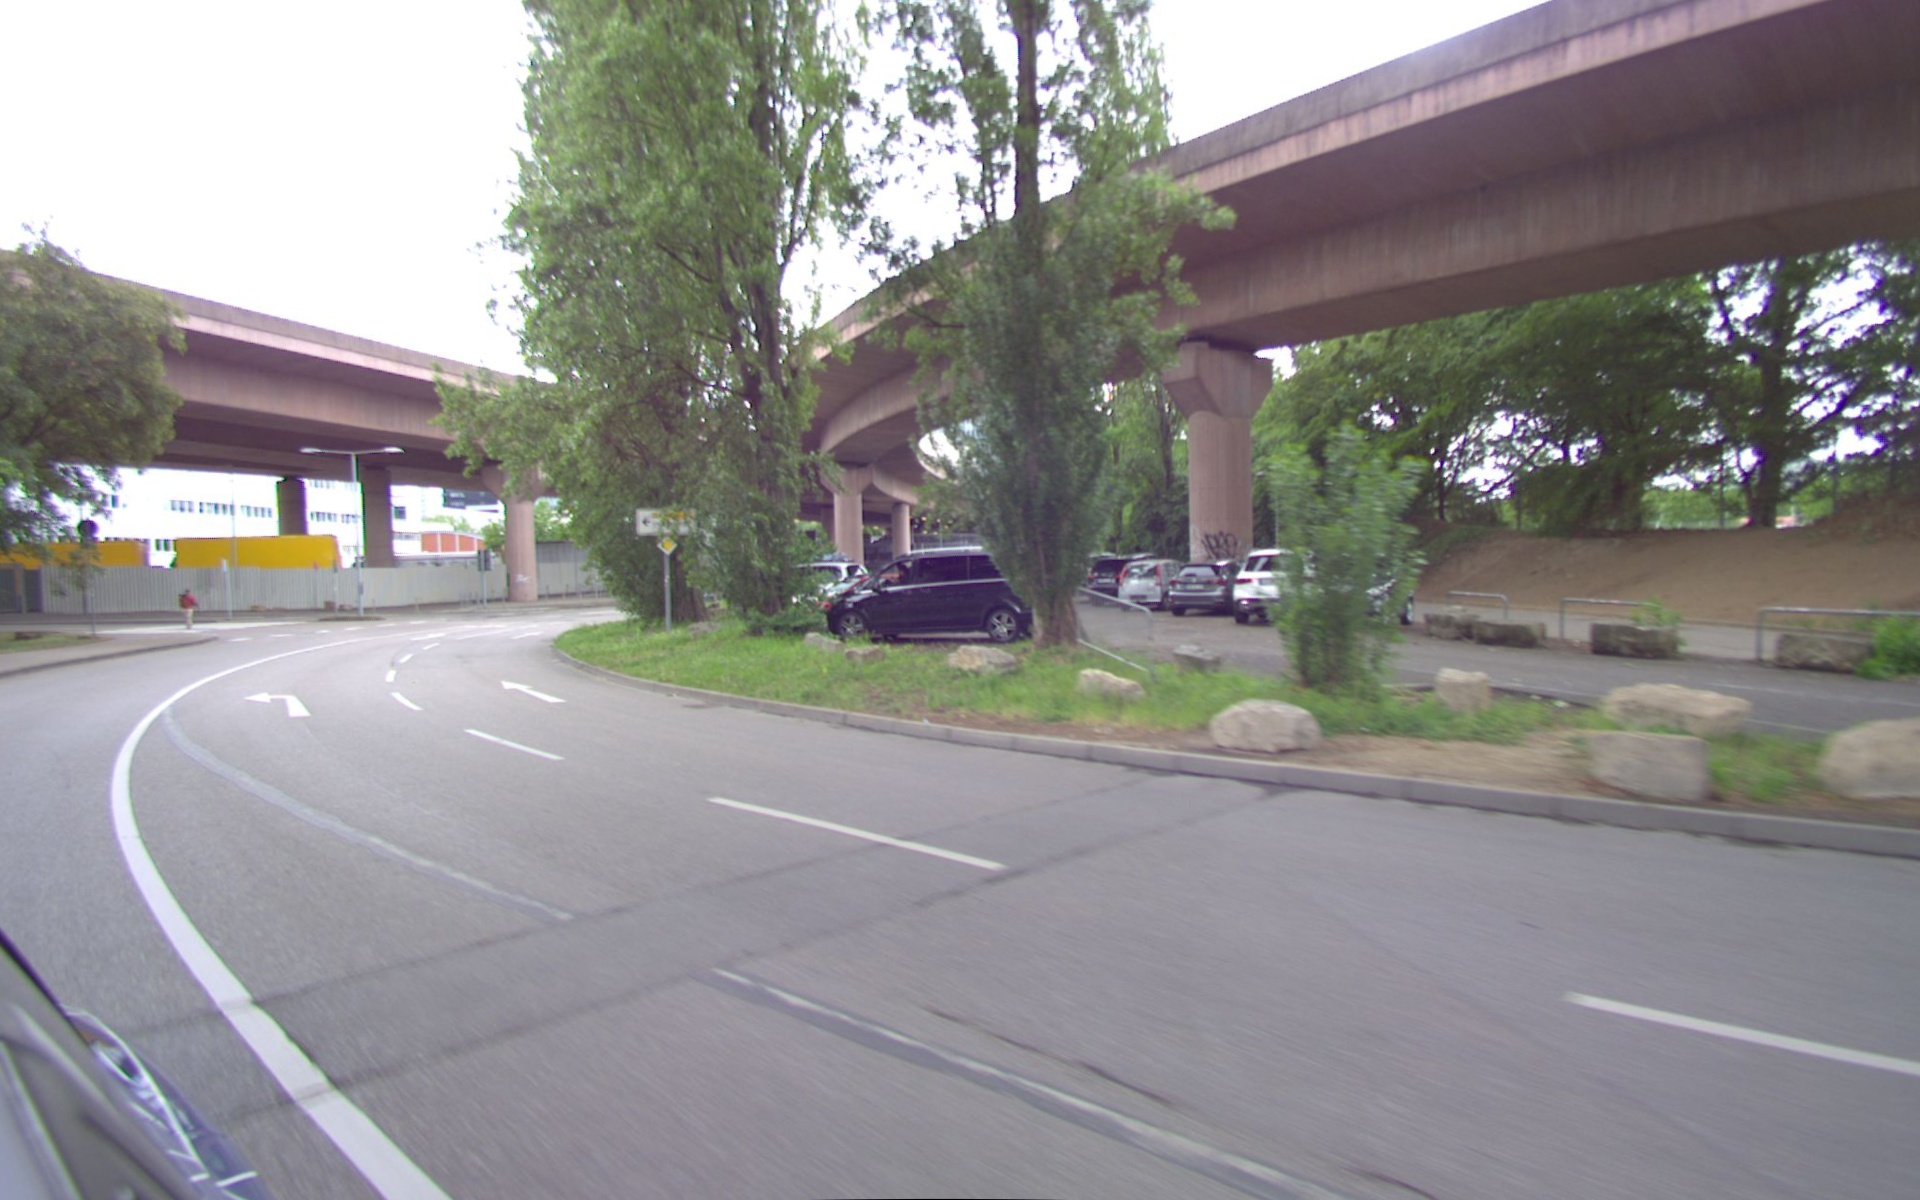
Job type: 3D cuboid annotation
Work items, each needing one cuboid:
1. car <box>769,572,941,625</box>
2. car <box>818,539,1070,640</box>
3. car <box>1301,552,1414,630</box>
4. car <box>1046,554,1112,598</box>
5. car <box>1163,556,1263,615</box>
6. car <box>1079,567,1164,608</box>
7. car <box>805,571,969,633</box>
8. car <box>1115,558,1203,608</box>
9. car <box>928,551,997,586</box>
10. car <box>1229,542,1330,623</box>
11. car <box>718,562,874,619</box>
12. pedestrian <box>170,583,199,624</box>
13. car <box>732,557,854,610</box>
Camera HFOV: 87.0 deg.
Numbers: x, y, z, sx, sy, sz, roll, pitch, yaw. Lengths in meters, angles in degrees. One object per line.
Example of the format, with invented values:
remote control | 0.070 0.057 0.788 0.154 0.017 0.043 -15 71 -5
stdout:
car | -2.901 -0.053 27.898 4.490 1.374 1.682 0 2 25
car | -0.342 -0.217 21.123 4.941 1.931 1.843 0 2 23
car | 8.447 -0.234 21.327 1.534 1.475 3.827 0 2 32
car | 4.260 -0.848 36.021 1.314 1.498 2.949 0 2 29
car | 6.922 -0.418 27.436 1.735 1.475 3.832 0 2 29
car | 5.300 -0.437 33.134 1.320 1.244 2.935 0 2 44
car | -1.763 0.036 24.532 3.681 1.390 1.553 0 2 23
car | 6.053 -0.541 30.560 1.372 1.399 3.384 0 2 34
car | 0.152 -1.678 53.863 3.488 1.813 1.645 -2 2 -41
car | 7.487 -0.429 23.481 1.726 1.720 4.029 0 2 25
car | -5.149 -0.321 31.715 4.647 1.686 1.683 0 2 23
pedestrian | -32.446 0.126 42.330 0.741 1.693 0.857 -1 1 -23
car | -6.767 -0.663 40.972 4.698 2.029 1.839 2 0 27
